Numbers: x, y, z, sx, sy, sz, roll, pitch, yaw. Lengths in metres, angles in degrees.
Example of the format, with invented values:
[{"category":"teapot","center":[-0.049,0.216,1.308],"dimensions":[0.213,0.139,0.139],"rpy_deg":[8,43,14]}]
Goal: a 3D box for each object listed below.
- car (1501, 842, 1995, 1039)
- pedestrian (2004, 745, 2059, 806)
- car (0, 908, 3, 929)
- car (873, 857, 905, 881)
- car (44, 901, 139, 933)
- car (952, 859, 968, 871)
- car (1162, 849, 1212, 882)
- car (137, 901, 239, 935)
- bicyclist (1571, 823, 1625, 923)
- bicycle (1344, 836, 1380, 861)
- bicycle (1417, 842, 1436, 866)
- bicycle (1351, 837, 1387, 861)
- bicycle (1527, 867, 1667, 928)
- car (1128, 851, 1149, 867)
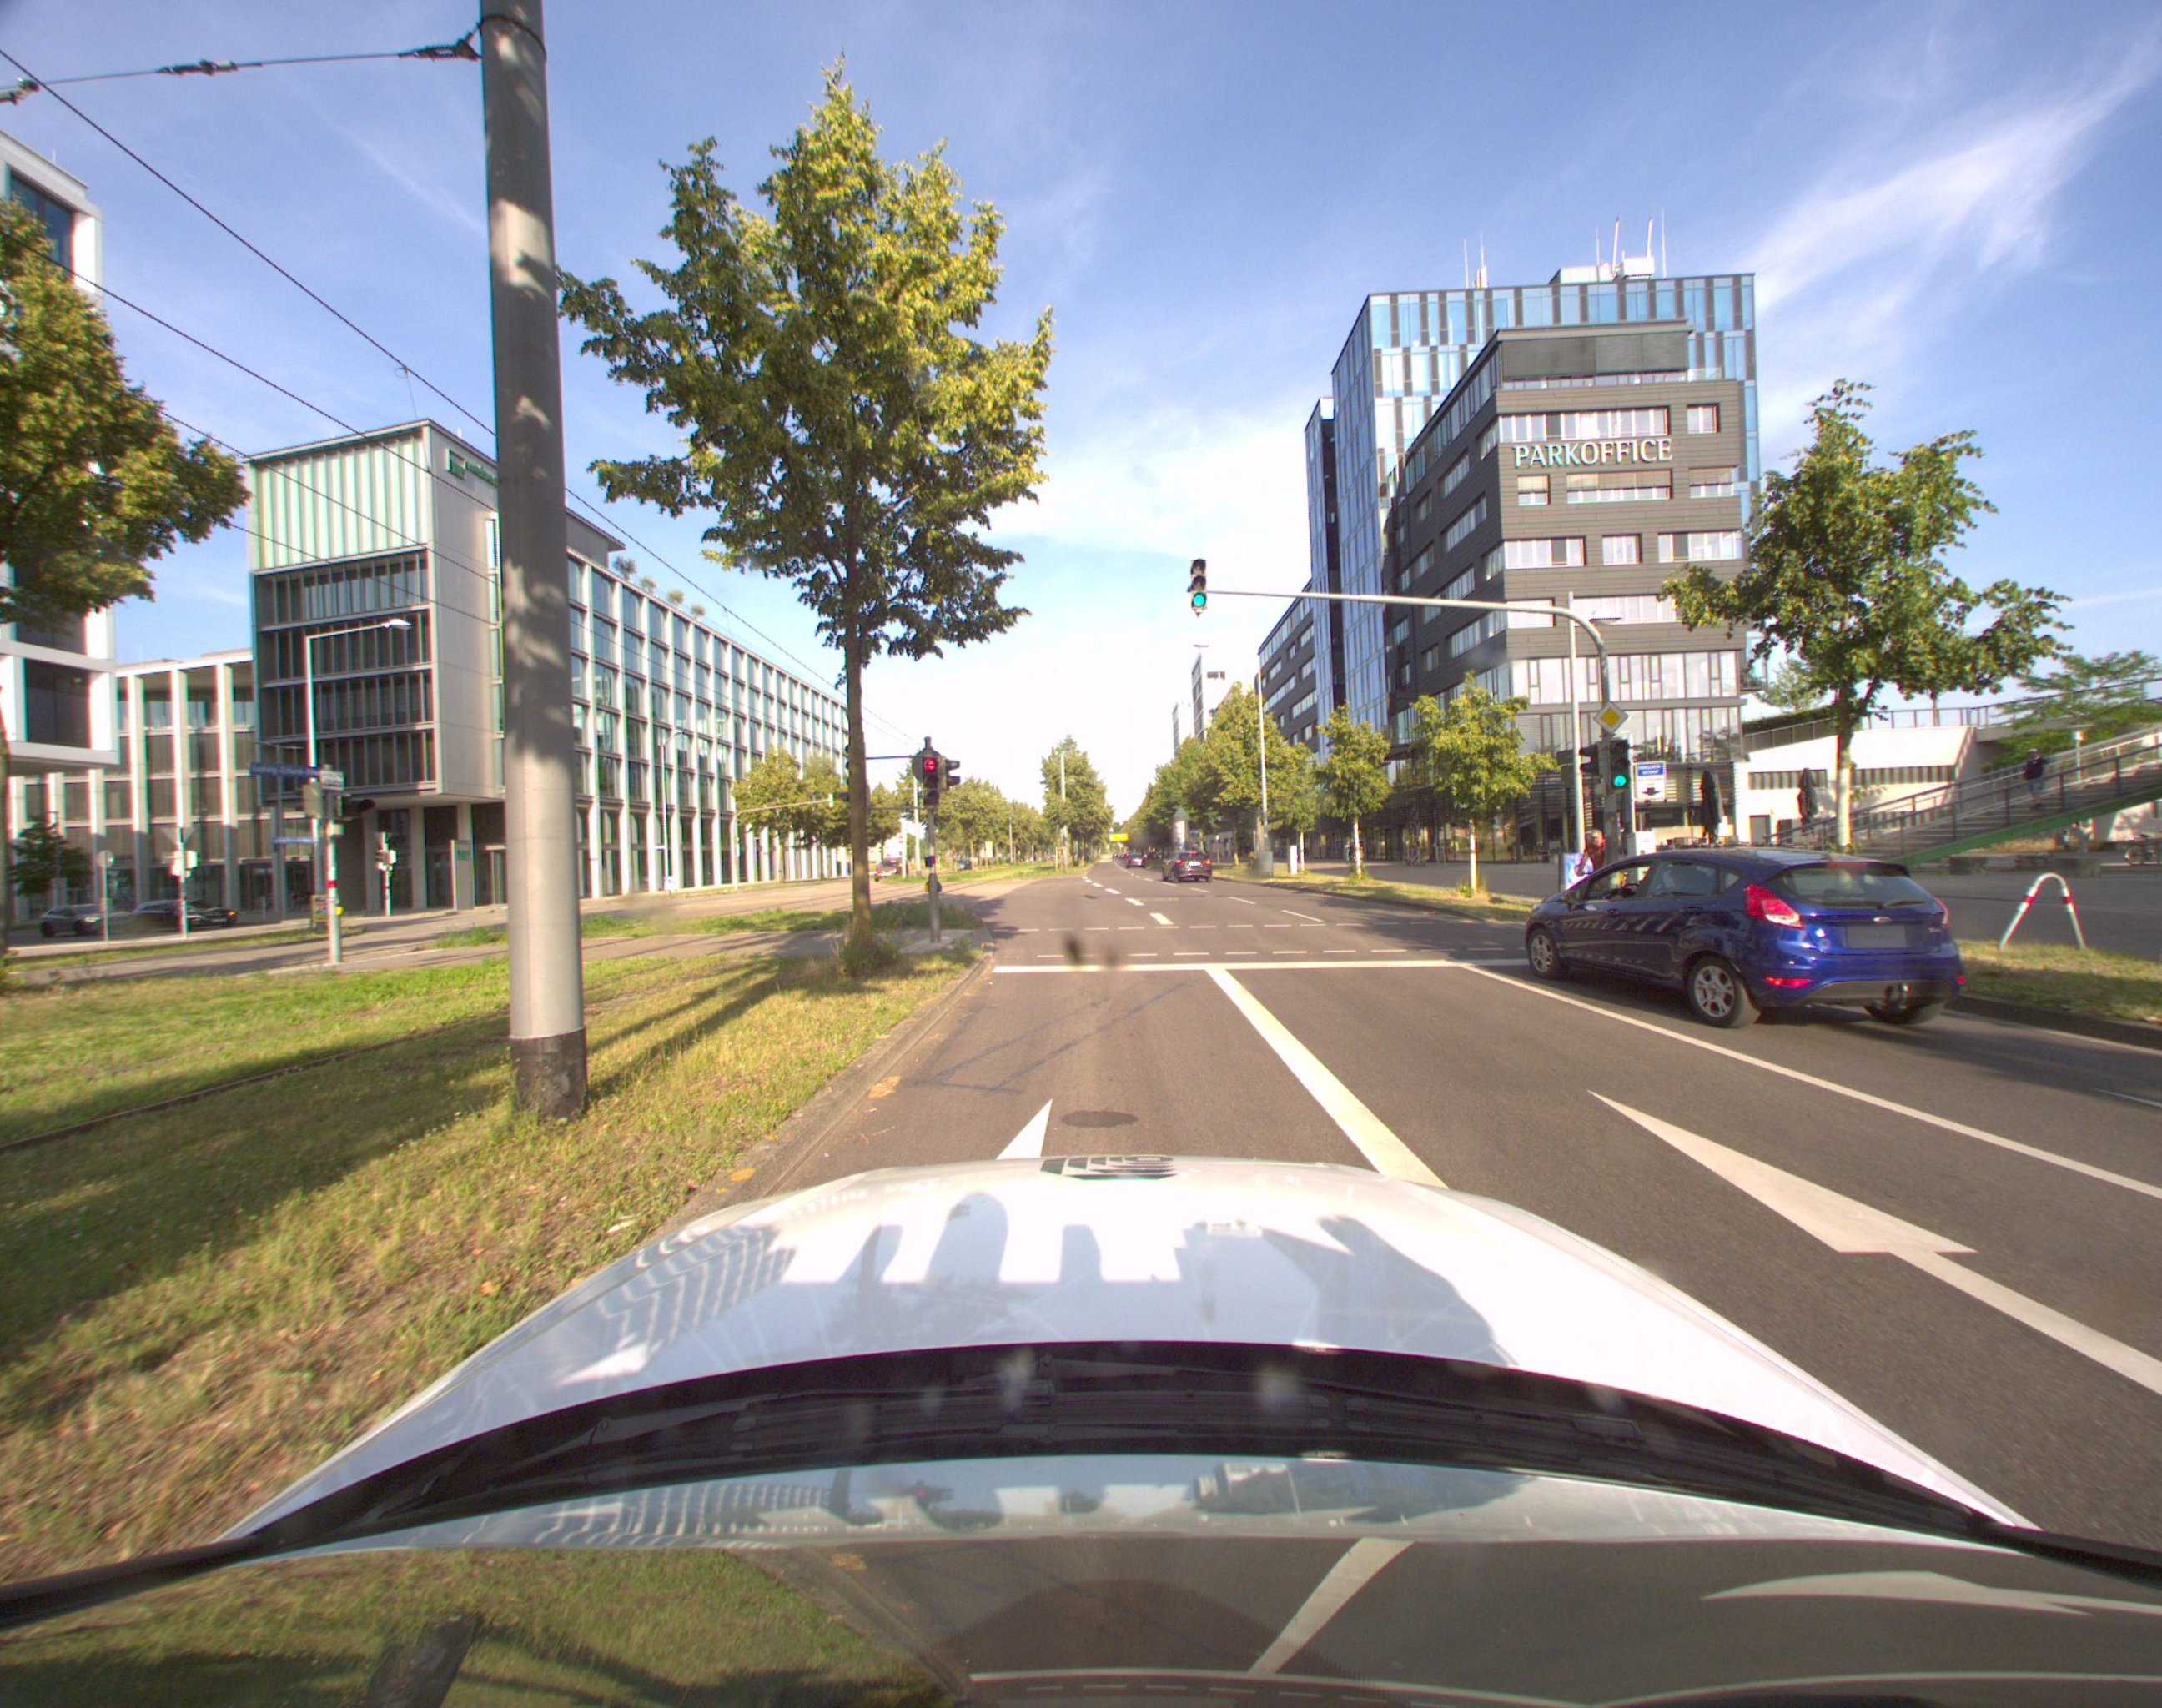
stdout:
[{"category":"car","center":[5.891,0.615,7.906],"dimensions":[1.556,1.424,3.905],"rpy_deg":[0,0,-1]},{"category":"pedestrian","center":[27.639,-2.265,23.694],"dimensions":[0.688,1.692,0.790],"rpy_deg":[-1,-1,14]},{"category":"car","center":[-72.551,4.276,52.329],"dimensions":[1.512,1.399,3.612],"rpy_deg":[-1,0,17]},{"category":"car","center":[-14.736,1.144,62.634],"dimensions":[1.680,1.775,3.879],"rpy_deg":[0,0,-2]},{"category":"car","center":[-47.801,3.026,39.353],"dimensions":[3.638,1.424,1.582],"rpy_deg":[-1,0,16]},{"category":"car","center":[-15.685,1.384,105.698],"dimensions":[1.634,1.443,3.953],"rpy_deg":[0,0,-2]},{"category":"car","center":[4.850,0.507,37.864],"dimensions":[1.769,1.424,3.959],"rpy_deg":[0,0,-1]},{"category":"car","center":[-41.054,2.915,37.463],"dimensions":[3.478,1.424,1.580],"rpy_deg":[-1,0,11]},{"category":"bicyclist","center":[9.022,0.330,14.213],"dimensions":[0.573,1.707,0.540],"rpy_deg":[0,-1,-3]},{"category":"bicycle","center":[21.232,-0.404,61.537],"dimensions":[2.548,1.857,0.571],"rpy_deg":[-1,-1,11]},{"category":"bicycle","center":[19.978,0.009,47.159],"dimensions":[0.371,1.346,1.895],"rpy_deg":[-1,-1,2]},{"category":"bicycle","center":[21.324,-0.392,60.368],"dimensions":[2.419,1.746,0.556],"rpy_deg":[-1,-1,11]},{"category":"bicycle","center":[8.989,0.750,14.205],"dimensions":[2.129,1.013,0.571],"rpy_deg":[0,-1,-4]},{"category":"car","center":[5.537,0.461,78.855],"dimensions":[1.852,1.524,3.787],"rpy_deg":[-1,0,2]}]
